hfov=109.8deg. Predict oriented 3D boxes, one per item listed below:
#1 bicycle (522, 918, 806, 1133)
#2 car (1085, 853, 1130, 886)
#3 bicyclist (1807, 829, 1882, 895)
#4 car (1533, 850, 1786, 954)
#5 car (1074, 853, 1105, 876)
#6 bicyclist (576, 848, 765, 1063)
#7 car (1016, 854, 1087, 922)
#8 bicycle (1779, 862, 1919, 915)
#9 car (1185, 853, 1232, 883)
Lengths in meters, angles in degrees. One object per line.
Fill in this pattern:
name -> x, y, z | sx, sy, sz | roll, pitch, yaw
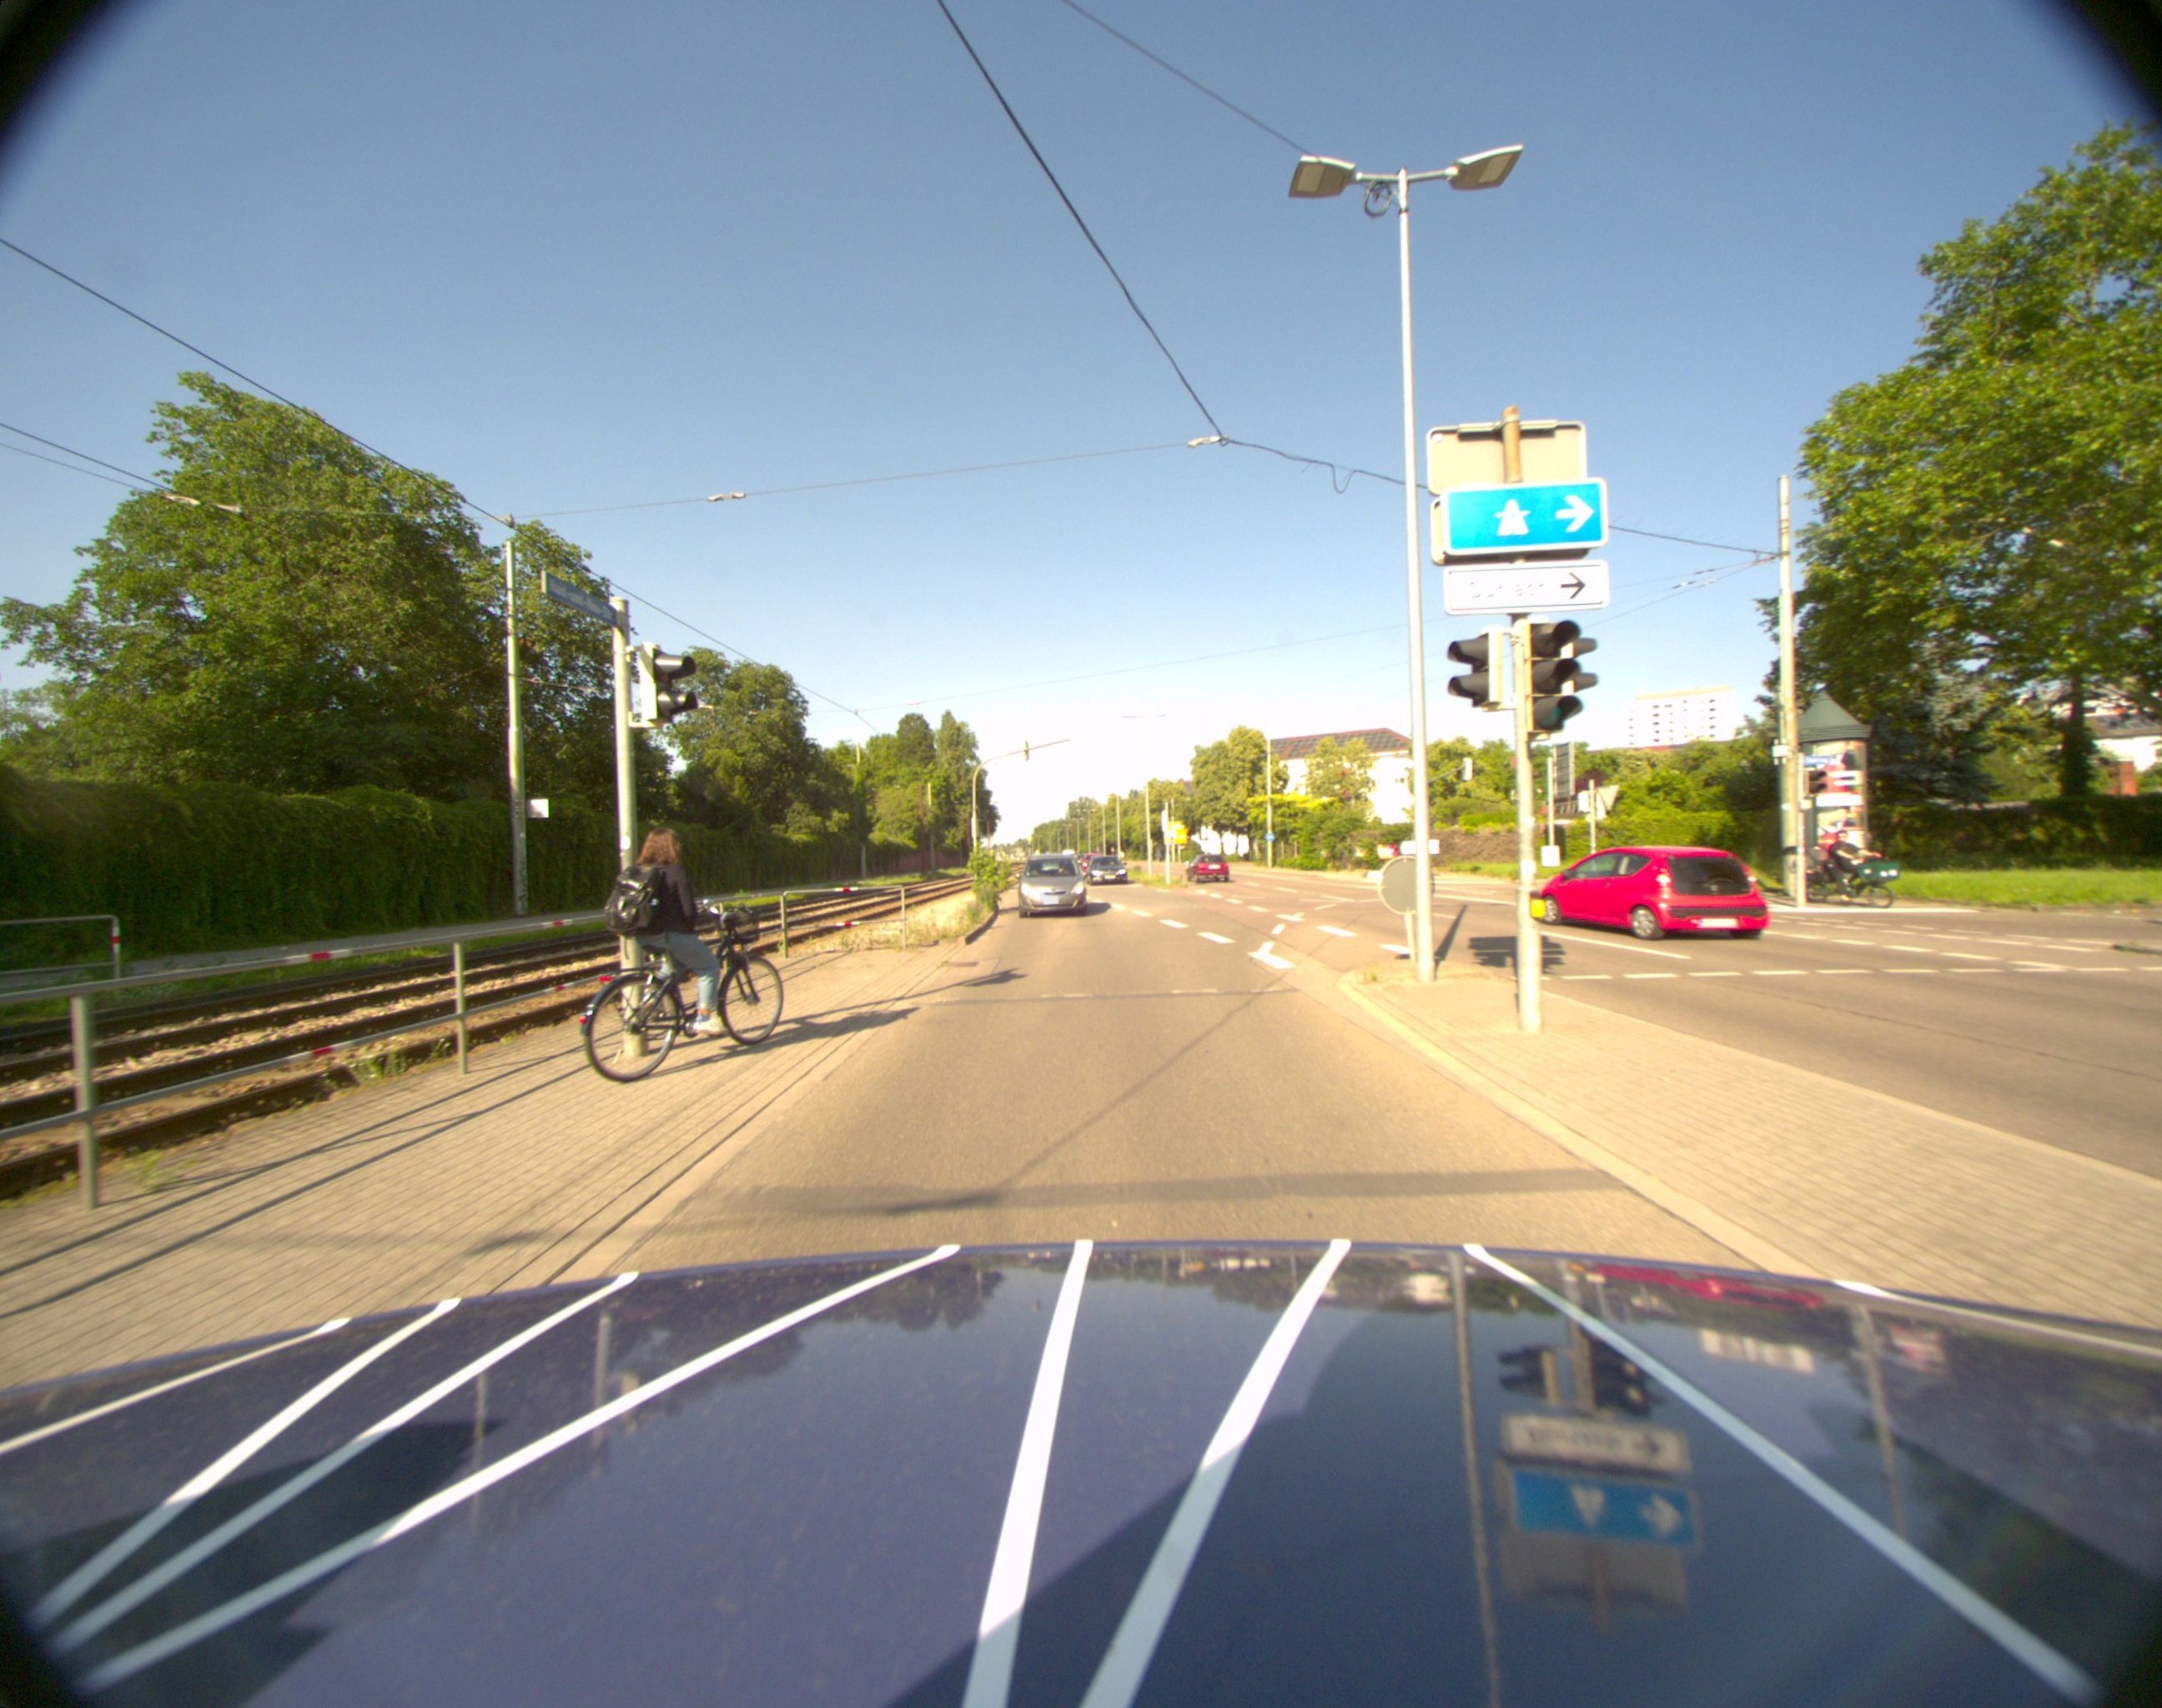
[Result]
bicycle -> -2.938, 1.128, 5.643 | 0.644, 1.147, 1.939 | 2, 0, 16
car -> 1.294, 0.730, 38.922 | 1.765, 1.477, 4.643 | -3, 0, -4
bicyclist -> 17.301, 0.173, 17.248 | 0.663, 1.444, 1.051 | -2, 1, 3
car -> 9.105, 0.667, 12.321 | 1.578, 1.408, 3.333 | -2, 0, 1
car -> 0.515, 0.692, 51.723 | 1.693, 1.420, 3.831 | -3, 0, -5
bicyclist -> -2.947, 0.667, 5.550 | 0.644, 1.408, 1.014 | -1, 1, 16
car -> -0.736, 0.820, 20.315 | 1.650, 1.581, 3.832 | -3, 0, -1
bicycle -> 17.307, 0.736, 17.243 | 0.663, 1.043, 2.581 | -2, 0, 3
car -> 6.399, 0.652, 38.474 | 1.657, 1.387, 4.133 | -2, 0, 0
